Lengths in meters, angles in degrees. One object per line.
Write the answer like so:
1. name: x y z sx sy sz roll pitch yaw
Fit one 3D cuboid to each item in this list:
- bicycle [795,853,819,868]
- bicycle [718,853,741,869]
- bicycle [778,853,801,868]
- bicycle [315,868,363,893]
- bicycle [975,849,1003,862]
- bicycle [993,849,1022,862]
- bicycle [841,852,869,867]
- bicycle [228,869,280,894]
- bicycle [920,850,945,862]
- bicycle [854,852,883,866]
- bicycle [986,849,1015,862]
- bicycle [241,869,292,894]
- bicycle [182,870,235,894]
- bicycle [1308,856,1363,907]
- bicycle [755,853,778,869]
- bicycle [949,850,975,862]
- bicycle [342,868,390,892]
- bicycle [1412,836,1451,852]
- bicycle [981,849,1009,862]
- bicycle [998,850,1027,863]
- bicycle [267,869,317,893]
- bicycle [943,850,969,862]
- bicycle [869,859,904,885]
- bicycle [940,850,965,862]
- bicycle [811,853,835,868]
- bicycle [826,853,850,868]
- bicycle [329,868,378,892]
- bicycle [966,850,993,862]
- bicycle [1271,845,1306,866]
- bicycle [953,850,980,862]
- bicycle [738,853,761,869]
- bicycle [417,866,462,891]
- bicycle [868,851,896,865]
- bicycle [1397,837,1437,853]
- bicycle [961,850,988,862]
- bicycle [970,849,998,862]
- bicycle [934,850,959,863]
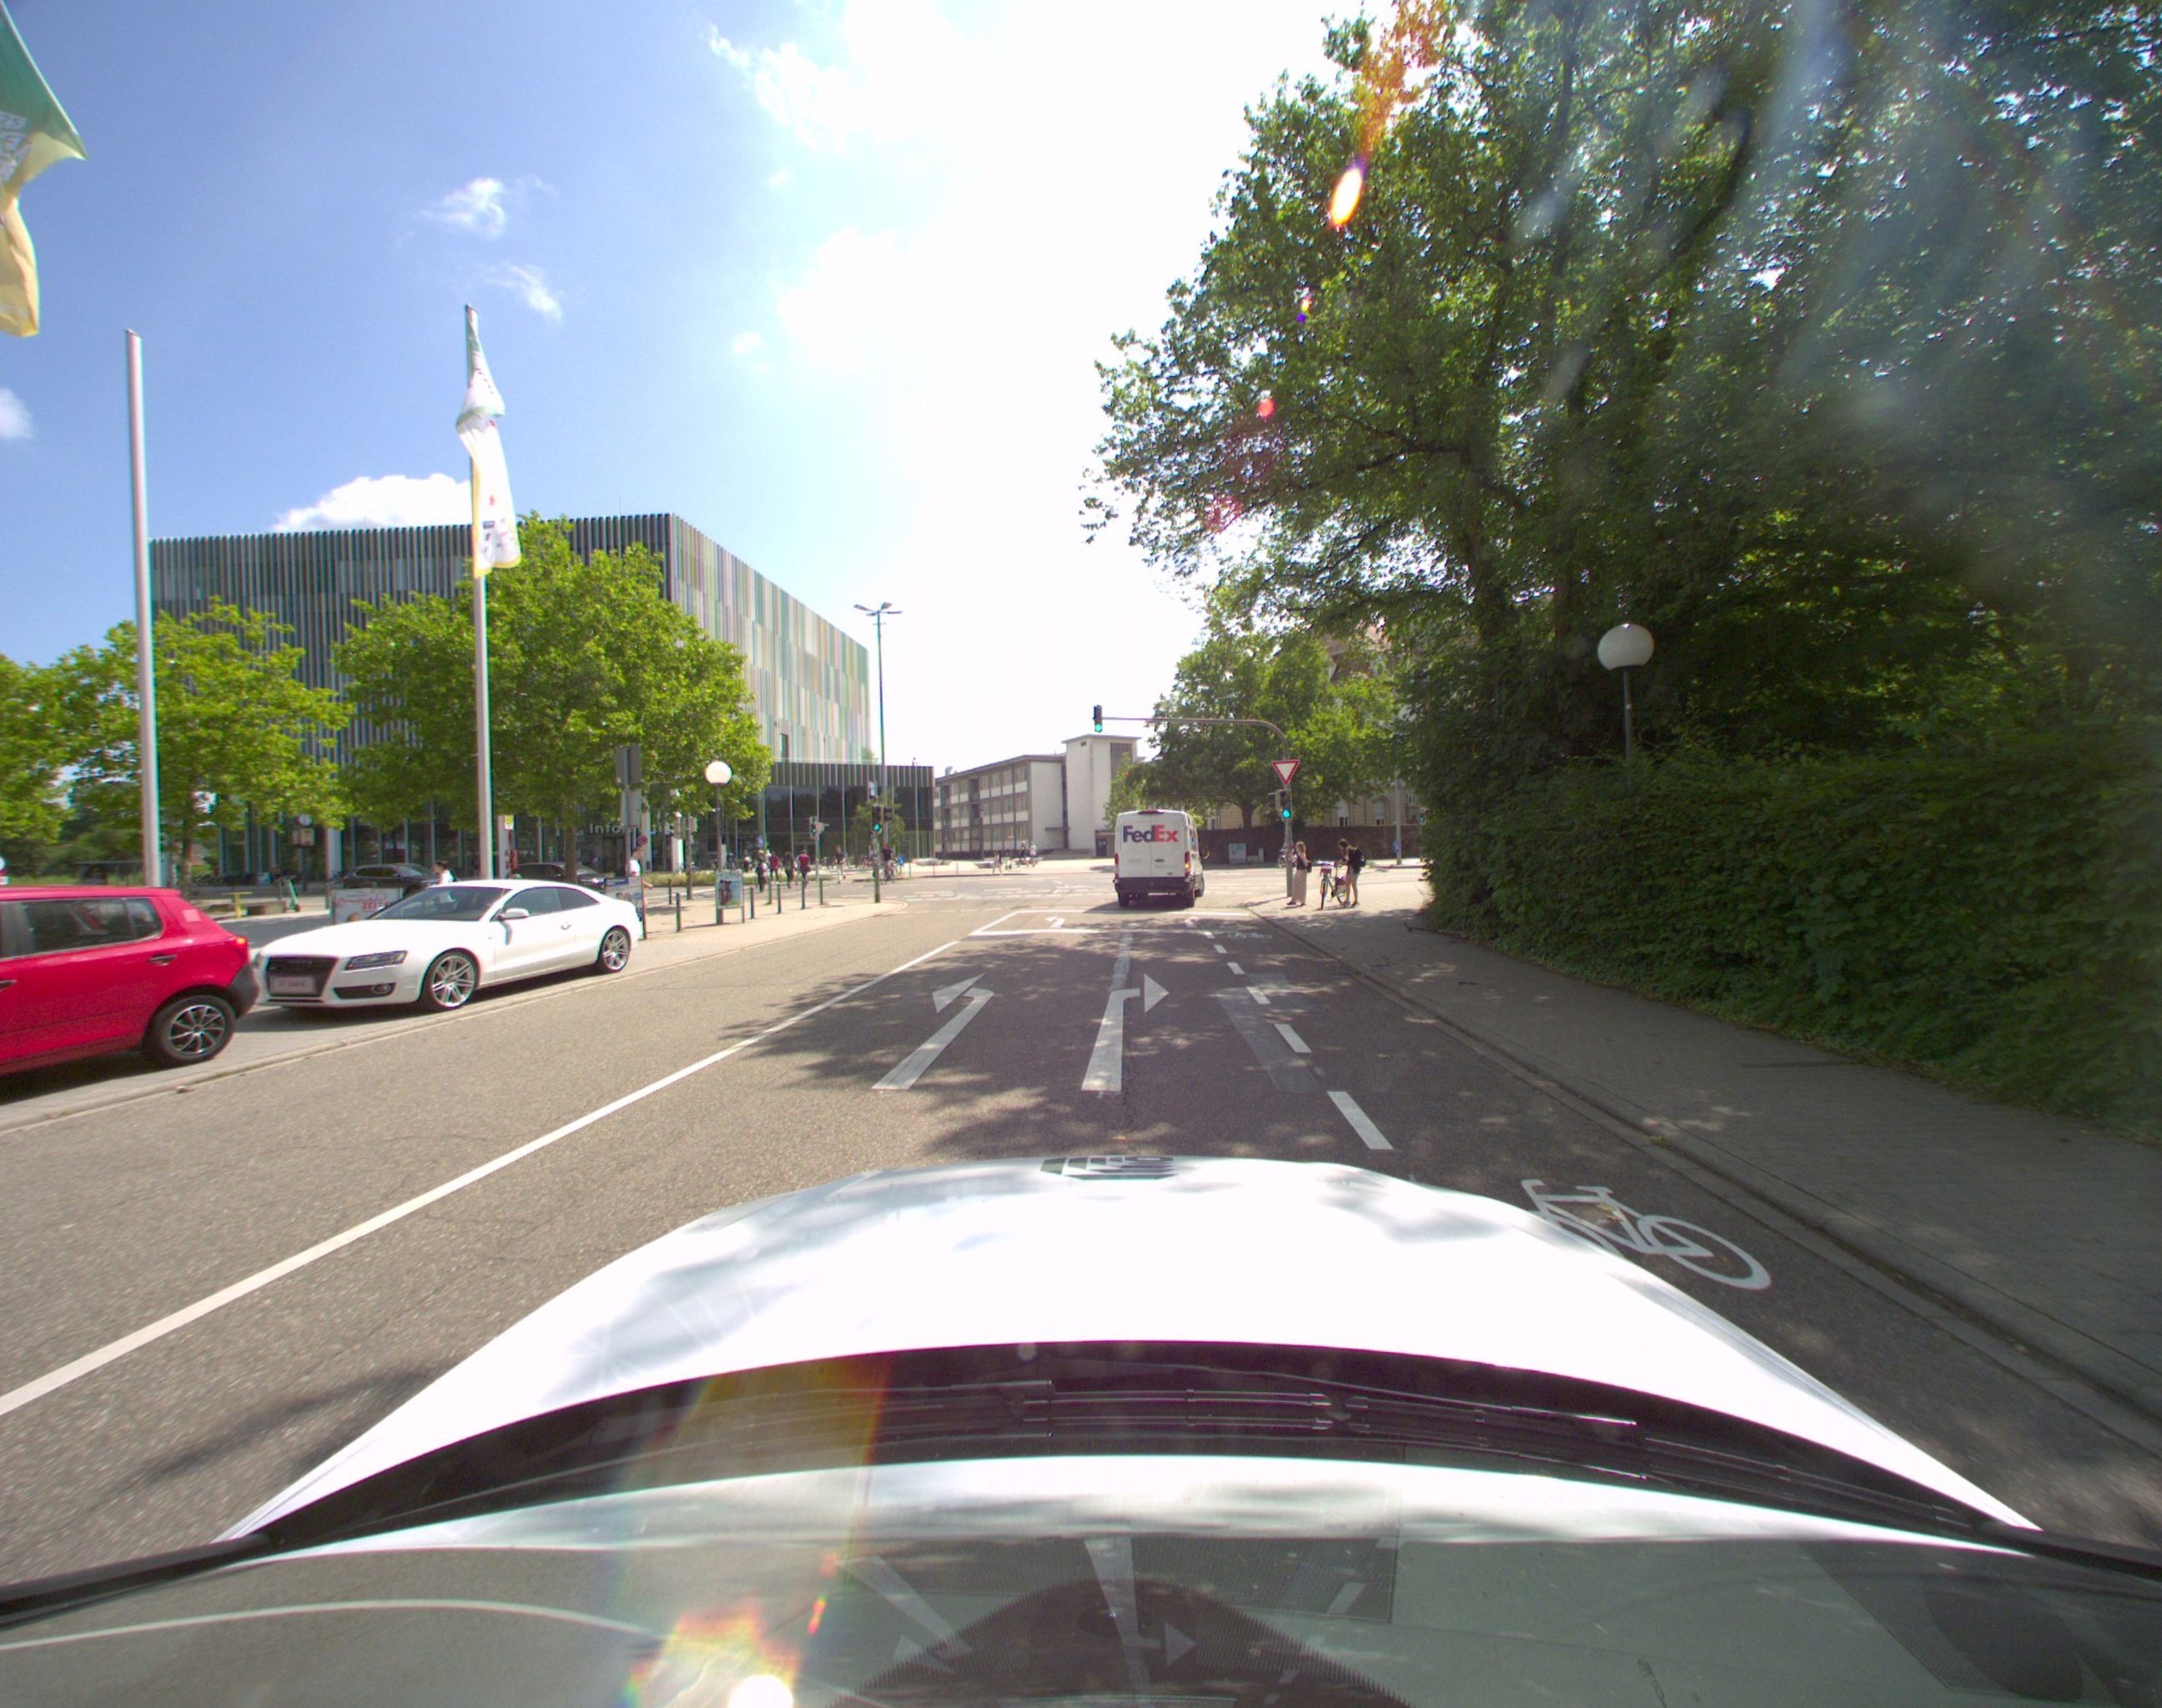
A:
1. bicycle: -23.055 0.569 68.534 1.205 1.237 2.921 -1 0 -32
2. bicycle: -27.903 0.580 64.603 1.205 1.237 2.921 -1 0 -32
3. bicycle: -24.265 0.554 67.823 1.205 1.237 2.921 -1 0 -32
4. bicycle: -59.210 2.082 65.028 0.954 1.838 2.956 -1 0 6
5. bicycle: -10.545 0.159 93.347 2.977 1.363 1.105 -1 0 -34
6. bicycle: -8.093 0.168 89.740 2.977 1.363 1.105 -1 0 -34
7. bicycle: -19.539 0.486 70.385 1.207 1.237 2.916 -1 0 -41
8. bicycle: -66.691 2.205 65.698 0.955 1.838 2.955 -1 0 5
9. bicycle: -19.894 0.294 109.132 2.977 1.574 1.105 -1 0 -34
10. bicycle: -18.607 0.429 71.243 1.207 1.237 2.916 -1 0 -41
11. bicycle: -9.042 0.179 91.068 2.977 1.363 1.262 -1 0 -34
12. bicycle: -65.533 2.186 65.598 0.955 1.838 2.955 -1 0 5
13. bicycle: -70.586 2.269 65.913 0.955 1.838 2.955 -1 0 5
14. bicycle: 6.201 0.649 19.770 0.586 1.127 1.754 -5 -1 39
15. bicycle: -25.632 0.558 66.320 1.205 1.237 2.922 -1 0 -31
16. bicycle: -14.658 0.240 100.142 2.977 1.363 1.105 -1 0 -34
17. bicycle: -56.859 2.043 64.831 0.954 1.838 2.957 -1 0 7
18. bicycle: 23.776 -0.655 55.271 2.373 0.994 0.697 -2 0 0
19. bicycle: -9.739 0.156 92.130 2.977 1.363 1.105 -1 0 -34
20. bicycle: -7.435 0.267 88.596 2.977 1.363 1.105 -1 0 -34
21. bicycle: -63.366 2.150 65.444 0.981 1.838 2.955 -1 0 5
22. bicycle: -15.653 0.234 102.053 2.977 1.363 1.105 -1 0 -34
23. bicycle: -9.355 0.852 39.269 0.765 1.122 2.034 -2 1 14
24. bicycle: -16.265 0.241 103.274 2.977 1.363 1.105 -1 0 -34
25. bicycle: -21.976 0.571 69.246 1.205 1.237 2.921 -1 0 -32
26. bicycle: -20.885 0.527 69.869 1.205 1.237 2.920 -1 0 -33
27. bicycle: -57.971 2.062 64.932 0.954 1.838 2.957 -1 0 7
28. bicycle: -11.941 0.206 95.552 2.977 1.363 1.105 -1 0 -34
29. bicycle: 11.285 0.085 44.396 0.553 1.131 2.154 -2 0 -28
30. bicycle: -13.873 0.232 98.604 2.977 1.363 1.105 -1 0 -34
31. bicycle: -26.719 0.592 65.592 1.205 1.237 2.921 -1 0 -32
32. bicycle: -50.450 1.939 64.092 0.954 1.838 2.957 -1 0 7
33. bicycle: -17.578 0.362 71.903 1.207 1.237 2.916 -1 0 -41
34. bicycle: 22.814 -0.639 55.279 2.373 0.994 0.754 -2 0 0
35. bicycle: -12.590 0.218 96.620 2.977 1.363 1.105 -1 0 -34
36. bicycle: -11.253 0.170 94.452 2.977 1.363 1.105 -1 0 -34
37. bicycle: -17.227 0.303 104.441 2.977 1.574 1.105 -1 0 -34
